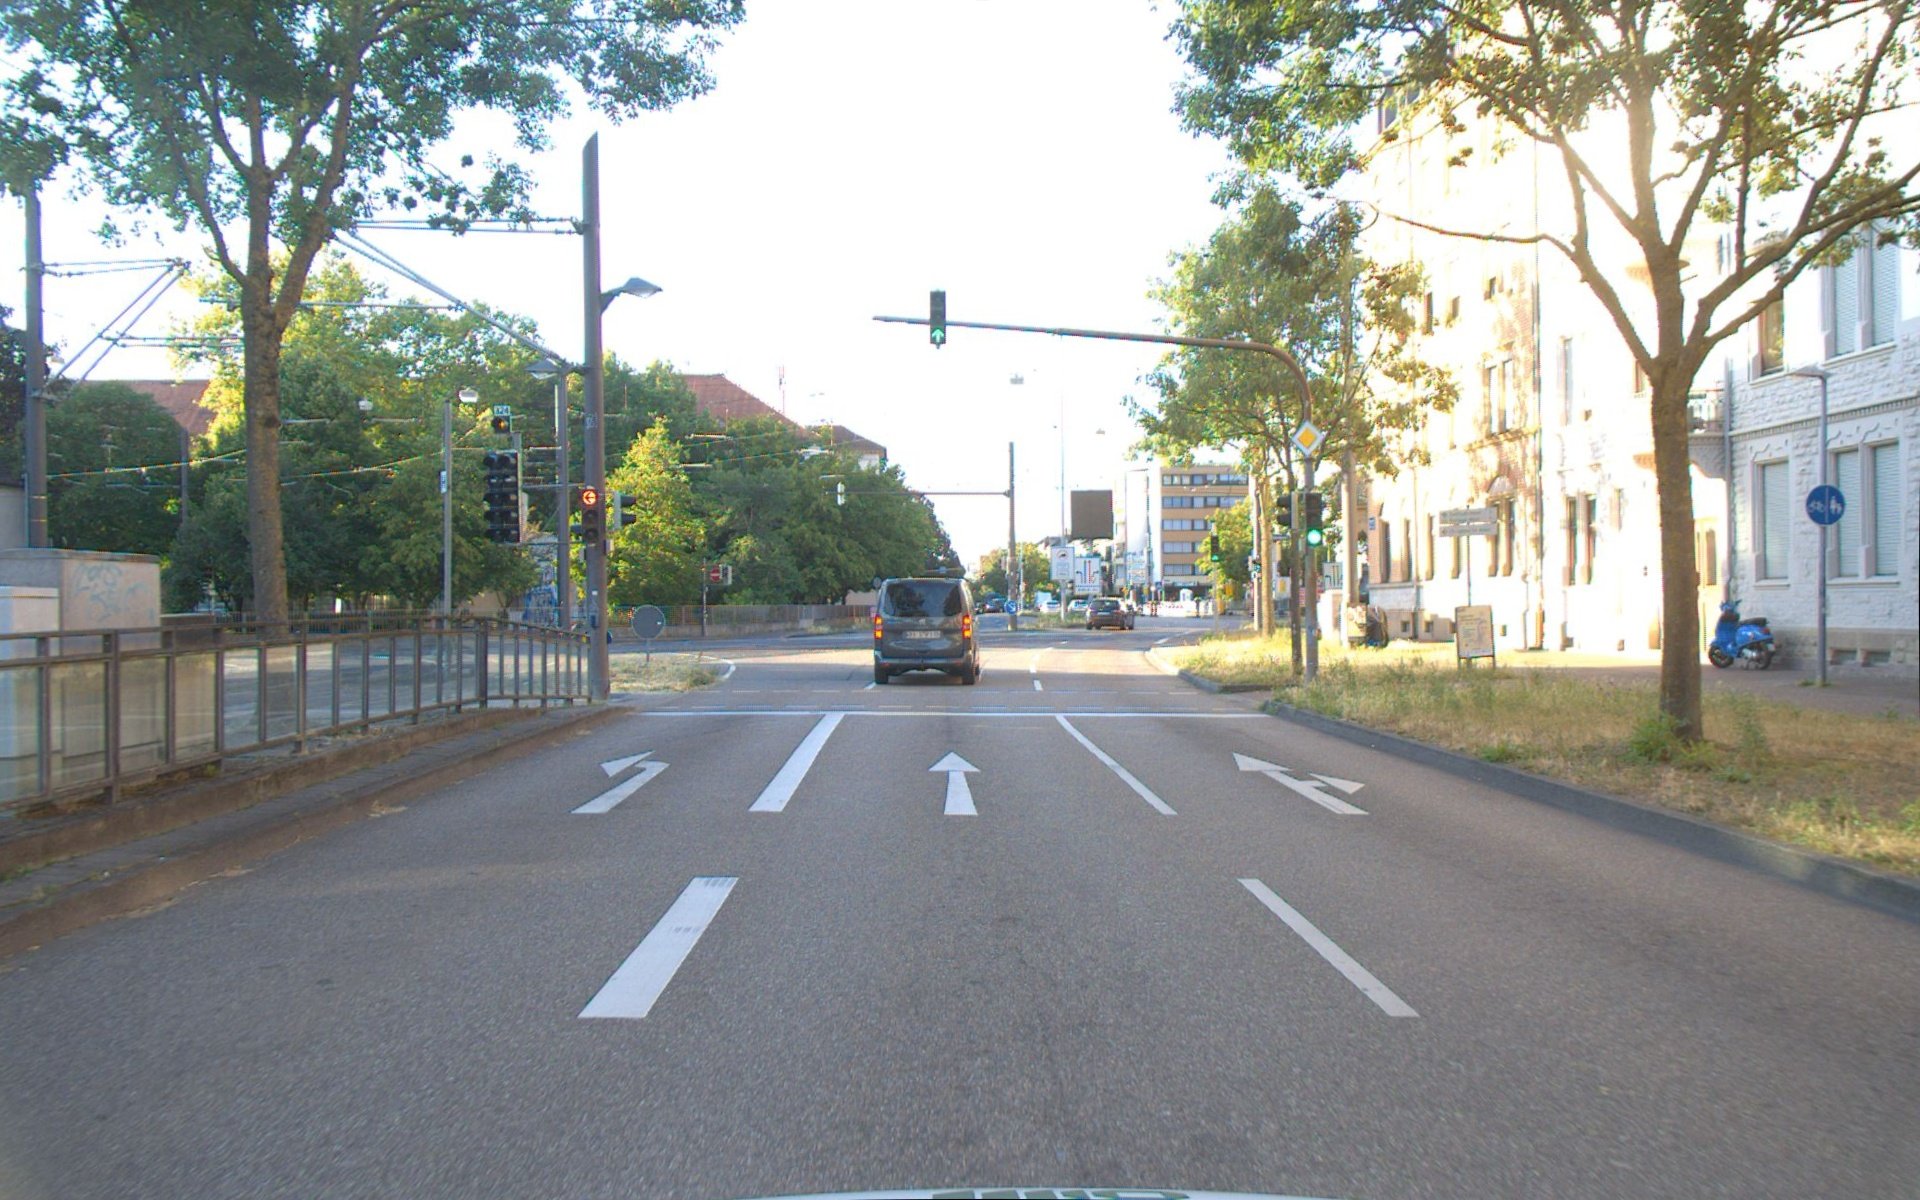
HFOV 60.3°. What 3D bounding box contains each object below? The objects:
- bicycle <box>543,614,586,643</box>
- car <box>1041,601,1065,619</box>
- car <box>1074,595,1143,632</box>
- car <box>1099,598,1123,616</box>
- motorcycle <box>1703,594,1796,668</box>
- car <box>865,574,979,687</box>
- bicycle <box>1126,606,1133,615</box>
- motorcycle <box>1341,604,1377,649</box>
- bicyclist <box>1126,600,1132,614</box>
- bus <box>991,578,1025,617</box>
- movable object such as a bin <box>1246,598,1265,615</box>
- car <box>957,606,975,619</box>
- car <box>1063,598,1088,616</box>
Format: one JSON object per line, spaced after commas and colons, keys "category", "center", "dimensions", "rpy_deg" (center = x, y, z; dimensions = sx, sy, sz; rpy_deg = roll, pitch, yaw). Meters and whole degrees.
{"category": "bicycle", "center": [-16.468, 1.178, 68.911], "dimensions": [1.708, 1.162, 0.550], "rpy_deg": [-1, 0, -43]}
{"category": "car", "center": [9.311, 1.003, 166.104], "dimensions": [1.954, 1.685, 4.296], "rpy_deg": [-1, 0, -4]}
{"category": "car", "center": [6.690, 0.599, 74.251], "dimensions": [1.810, 1.571, 3.626], "rpy_deg": [-1, 0, 28]}
{"category": "car", "center": [14.743, 0.641, 161.517], "dimensions": [1.953, 1.685, 4.299], "rpy_deg": [-1, 0, 0]}
{"category": "motorcycle", "center": [13.654, 0.524, 28.677], "dimensions": [0.542, 1.235, 2.071], "rpy_deg": [1, 0, -3]}
{"category": "car", "center": [-0.653, 0.541, 31.141], "dimensions": [1.952, 1.934, 4.299], "rpy_deg": [1, 0, 0]}
{"category": "bicycle", "center": [17.092, 1.075, 166.949], "dimensions": [0.522, 0.862, 1.683], "rpy_deg": [-1, 0, 0]}
{"category": "motorcycle", "center": [9.712, 0.626, 40.329], "dimensions": [0.591, 1.062, 1.745], "rpy_deg": [-1, 0, 5]}
{"category": "bicyclist", "center": [17.081, 0.702, 166.884], "dimensions": [0.530, 1.485, 0.641], "rpy_deg": [-1, 0, 0]}
{"category": "bus", "center": [5.924, -0.306, 204.525], "dimensions": [3.225, 4.698, 9.991], "rpy_deg": [1, 0, -4]}
{"category": "movable object such as a bin", "center": [25.061, 0.527, 140.209], "dimensions": [1.431, 1.410, 1.548], "rpy_deg": [-1, 0, 7]}
{"category": "car", "center": [0.818, 1.547, 213.959], "dimensions": [1.951, 1.623, 4.003], "rpy_deg": [-1, 0, 6]}
{"category": "car", "center": [11.672, 0.706, 167.026], "dimensions": [1.954, 1.685, 4.296], "rpy_deg": [-1, 0, -4]}
